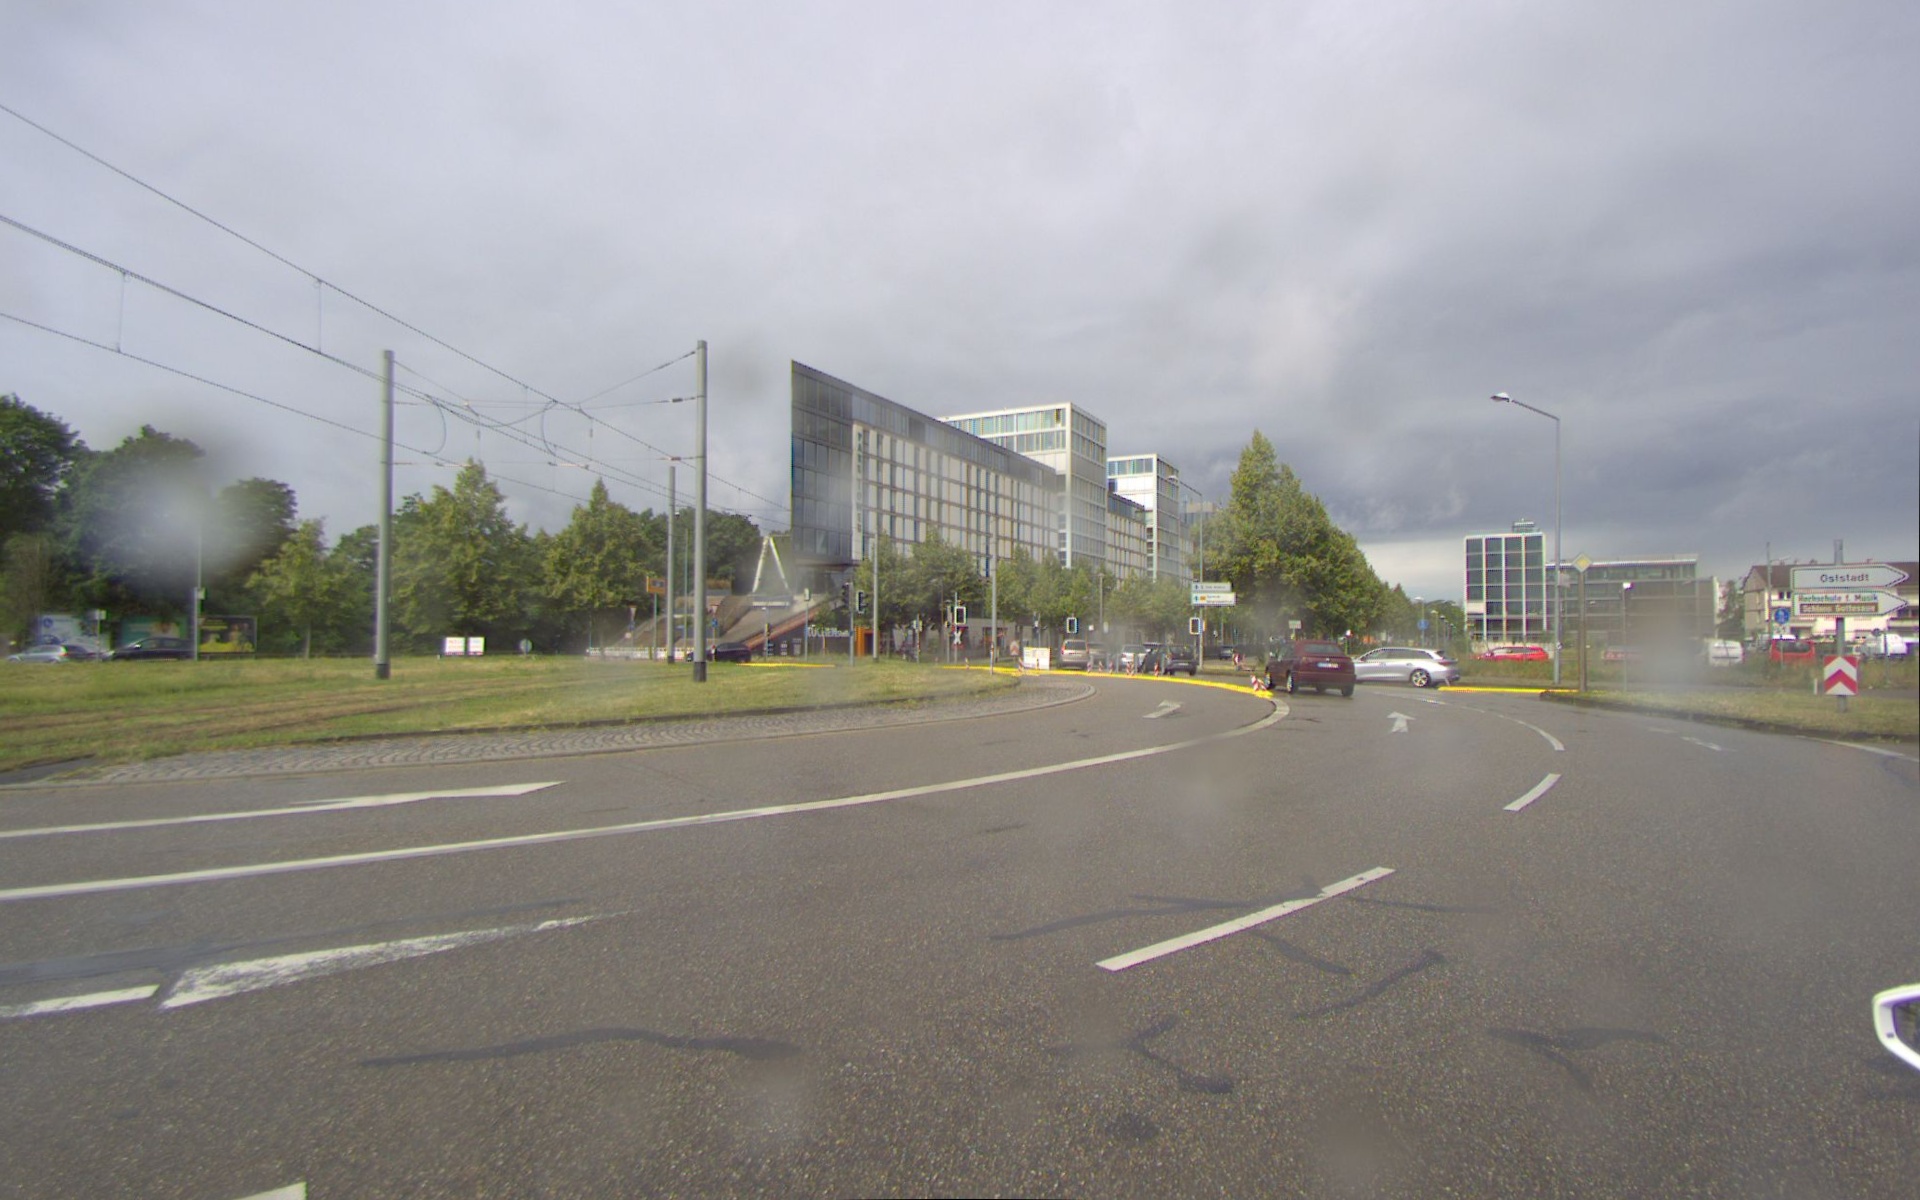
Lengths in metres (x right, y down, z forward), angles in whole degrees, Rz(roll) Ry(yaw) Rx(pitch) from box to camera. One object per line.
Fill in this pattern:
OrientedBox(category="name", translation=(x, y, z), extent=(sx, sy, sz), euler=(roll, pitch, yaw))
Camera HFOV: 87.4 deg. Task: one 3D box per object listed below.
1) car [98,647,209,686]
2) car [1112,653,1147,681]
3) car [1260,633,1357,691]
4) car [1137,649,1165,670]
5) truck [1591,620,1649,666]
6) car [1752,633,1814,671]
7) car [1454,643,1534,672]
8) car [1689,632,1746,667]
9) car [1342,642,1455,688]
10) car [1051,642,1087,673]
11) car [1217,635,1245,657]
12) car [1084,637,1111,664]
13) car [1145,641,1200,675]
OrientedBox(category="car", translation=(-37.391, 3.052, 46.621), extent=(1.842, 1.694, 3.798), euler=(-1, -3, 44))
OrientedBox(category="car", translation=(9.186, 3.602, 54.246), extent=(1.669, 1.385, 3.849), euler=(0, -2, 13))
OrientedBox(category="car", translation=(9.463, 1.687, 27.591), extent=(1.685, 1.481, 4.004), euler=(-1, -3, 7))
OrientedBox(category="car", translation=(14.349, 4.443, 75.231), extent=(1.471, 1.530, 3.500), euler=(0, -2, 20))
OrientedBox(category="truck", translation=(36.062, 2.276, 54.810), extent=(2.359, 2.241, 6.078), euler=(-1, 0, 36))
OrientedBox(category="car", translation=(41.741, 2.620, 51.009), extent=(1.896, 1.723, 3.990), euler=(-1, 0, 32))
OrientedBox(category="car", translation=(31.678, 3.396, 59.668), extent=(4.116, 1.531, 1.854), euler=(-1, 0, 29))
OrientedBox(category="car", translation=(41.188, 2.646, 54.695), extent=(1.823, 1.723, 3.994), euler=(-1, 0, 27))
OrientedBox(category="car", translation=(15.964, 2.345, 36.588), extent=(3.494, 1.581, 1.594), euler=(-2, -2, 37))
OrientedBox(category="car", translation=(5.789, 3.056, 53.611), extent=(1.519, 1.581, 3.501), euler=(0, -2, 0))
OrientedBox(category="car", translation=(26.817, 4.537, 99.214), extent=(1.962, 2.040, 3.997), euler=(0, -2, 26))
OrientedBox(category="car", translation=(8.363, 3.028, 60.911), extent=(1.542, 1.581, 3.681), euler=(-1, -2, 9))
OrientedBox(category="car", translation=(10.208, 2.766, 48.462), extent=(1.521, 1.581, 3.496), euler=(0, -2, -7))
